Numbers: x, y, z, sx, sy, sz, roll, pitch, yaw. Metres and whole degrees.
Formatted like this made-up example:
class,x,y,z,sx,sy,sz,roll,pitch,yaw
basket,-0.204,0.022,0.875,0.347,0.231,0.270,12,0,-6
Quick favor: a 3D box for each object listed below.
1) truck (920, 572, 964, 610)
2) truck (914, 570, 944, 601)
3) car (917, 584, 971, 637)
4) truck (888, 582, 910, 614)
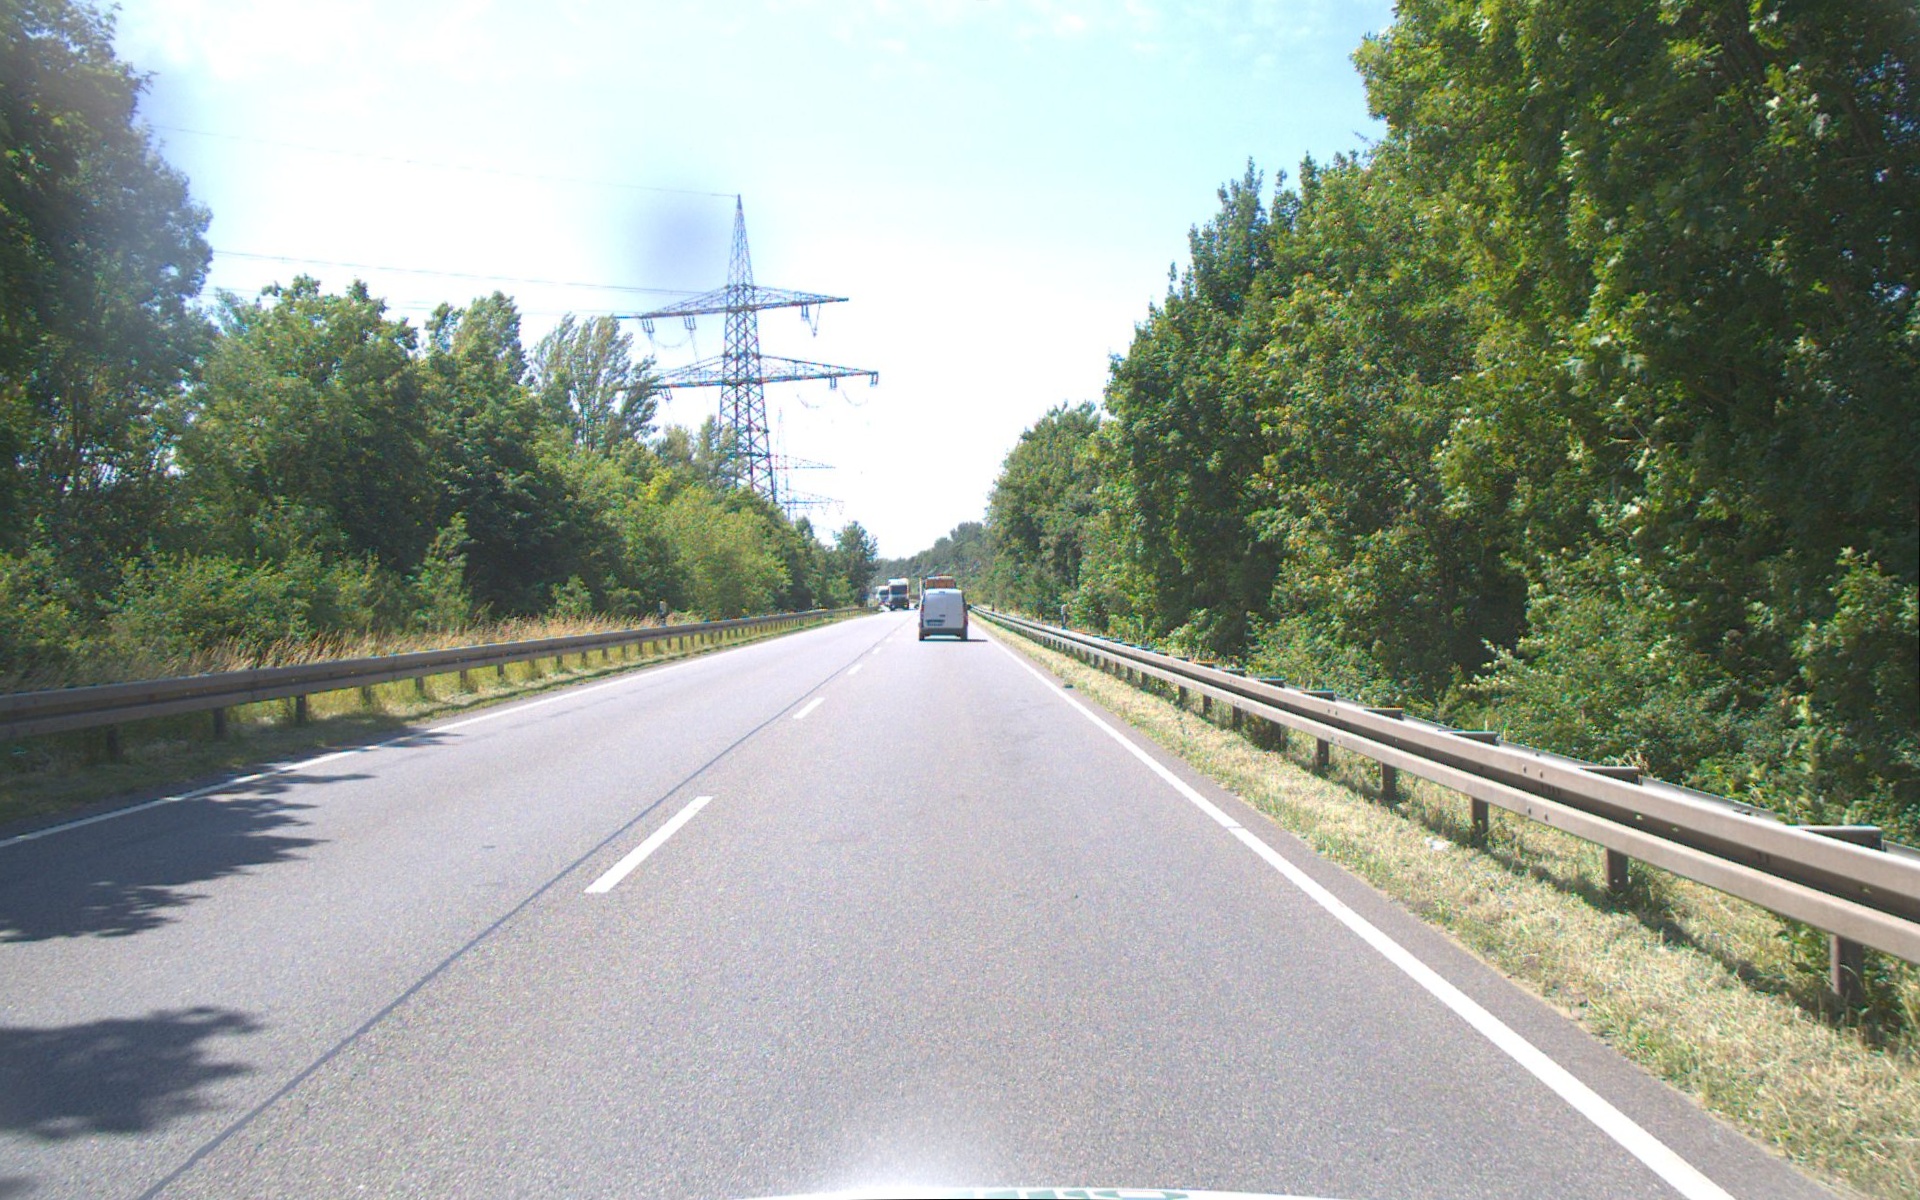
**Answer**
class,x,y,z,sx,sy,sz,roll,pitch,yaw
truck,-1.702,-0.898,147.333,3.231,3.227,14.396,1,1,-3
truck,-4.236,-2.055,222.074,3.334,3.922,16.808,1,1,-3
car,-0.600,0.339,58.839,1.837,1.772,3.999,1,1,-1
truck,-8.041,-0.251,217.253,2.707,4.069,5.905,1,0,-1
